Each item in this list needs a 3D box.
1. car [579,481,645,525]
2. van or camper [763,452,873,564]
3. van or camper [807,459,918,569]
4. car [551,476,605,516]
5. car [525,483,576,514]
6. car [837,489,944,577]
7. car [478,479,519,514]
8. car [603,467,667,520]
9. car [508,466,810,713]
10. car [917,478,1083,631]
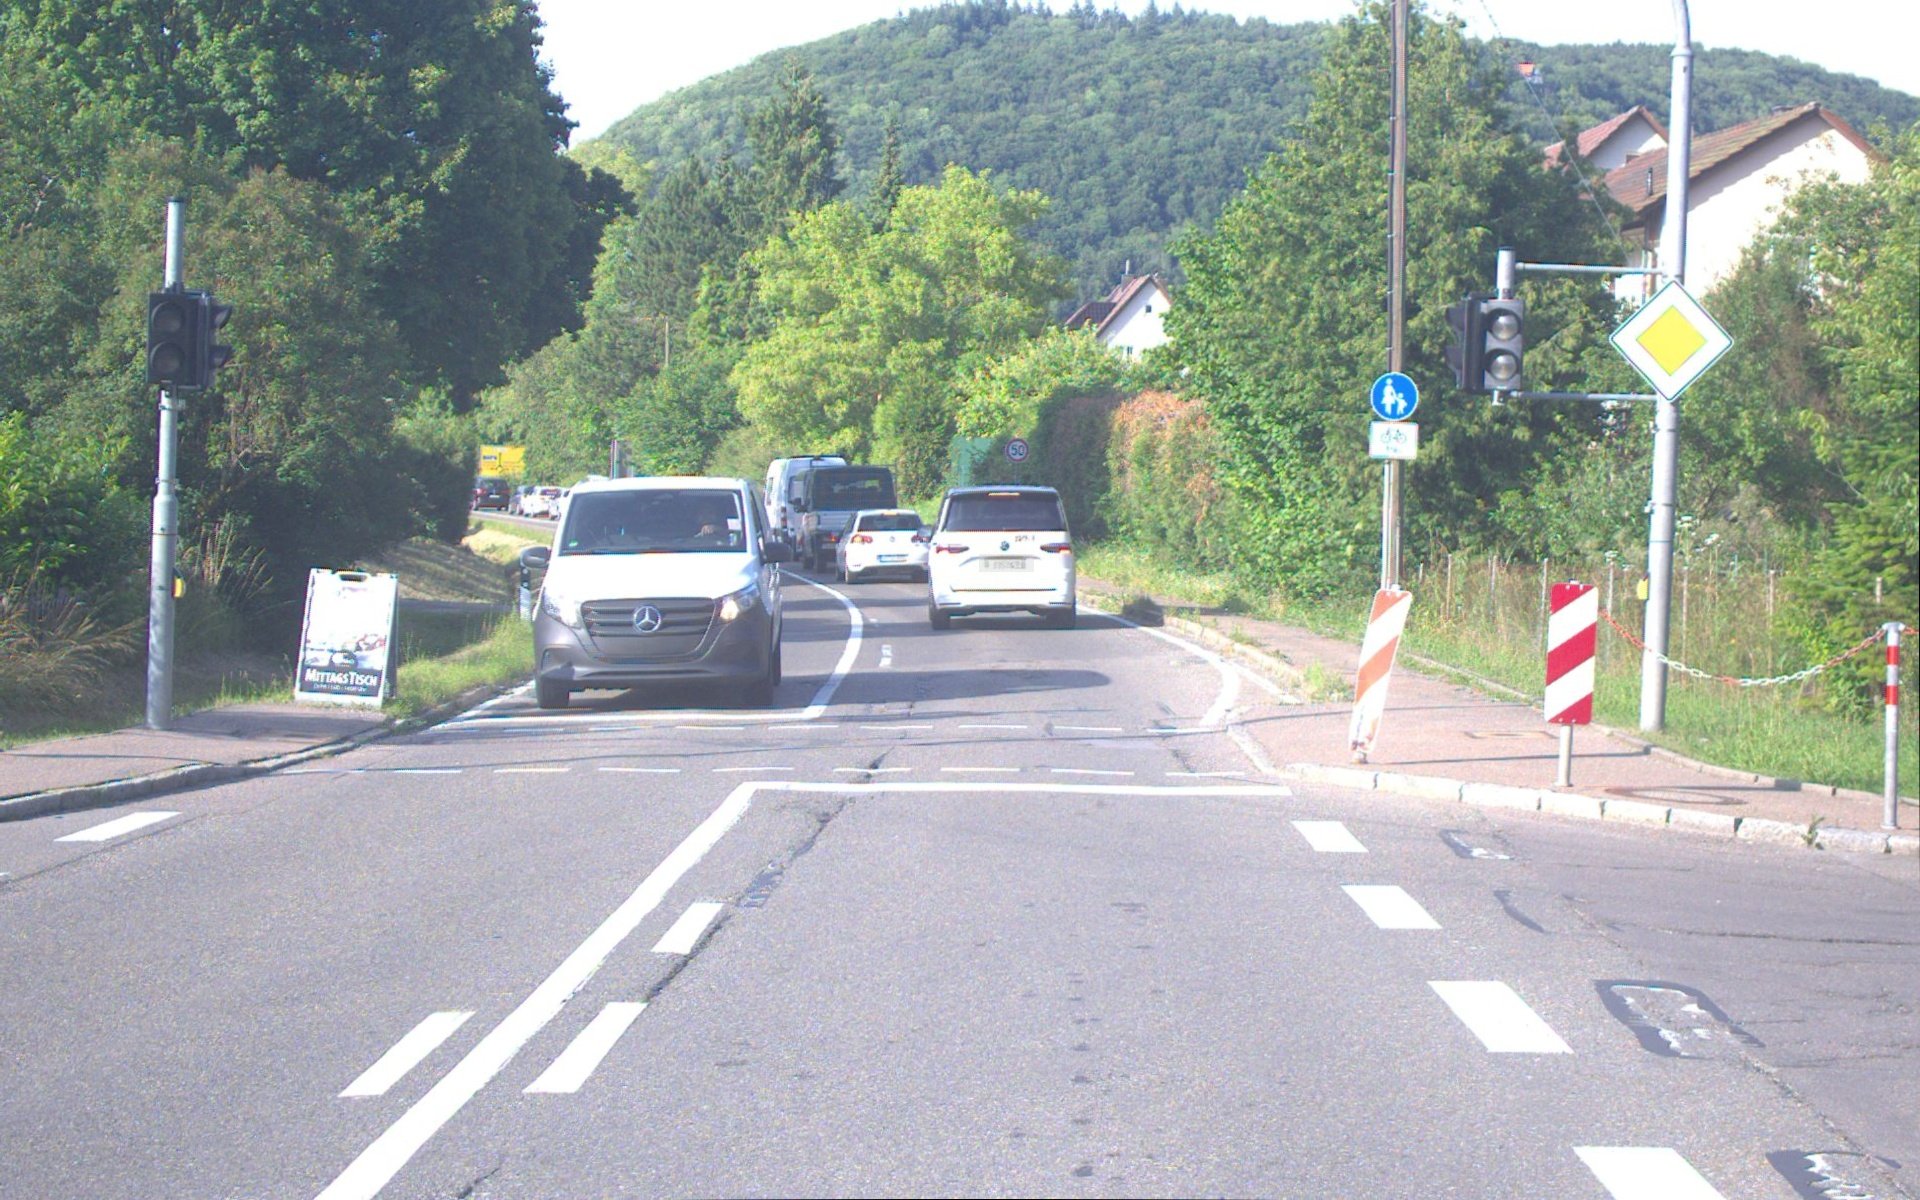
[{"bbox_3d":[-14.277,-3.977,140.746,2.040,1.678,4.002,1,2,-15],"label":"car"},{"bbox_3d":[-3.855,-2.487,92.185,2.414,2.894,6.133,0,2,-7],"label":"van or camper"},{"bbox_3d":[-2.227,-1.963,77.335,2.179,2.377,5.371,0,2,-5],"label":"van or camper"},{"bbox_3d":[-16.618,-4.498,149.352,1.941,1.678,4.001,-1,1,-12],"label":"car"},{"bbox_3d":[-18.875,-4.697,158.433,1.941,1.419,4.002,0,2,-12],"label":"car"},{"bbox_3d":[-1.414,-1.361,68.626,1.993,1.678,4.001,0,2,-3],"label":"car"},{"bbox_3d":[-23.927,-5.377,178.220,1.771,1.776,4.001,-1,2,-12],"label":"car"},{"bbox_3d":[-12.509,-4.111,132.092,1.993,2.006,4.002,0,2,-12],"label":"car"},{"bbox_3d":[-2.457,-0.175,29.381,1.993,1.897,5.253,-1,2,1],"label":"car"},{"bbox_3d":[0.485,-0.672,46.943,1.993,1.870,4.872,2,2,-2],"label":"car"}]
